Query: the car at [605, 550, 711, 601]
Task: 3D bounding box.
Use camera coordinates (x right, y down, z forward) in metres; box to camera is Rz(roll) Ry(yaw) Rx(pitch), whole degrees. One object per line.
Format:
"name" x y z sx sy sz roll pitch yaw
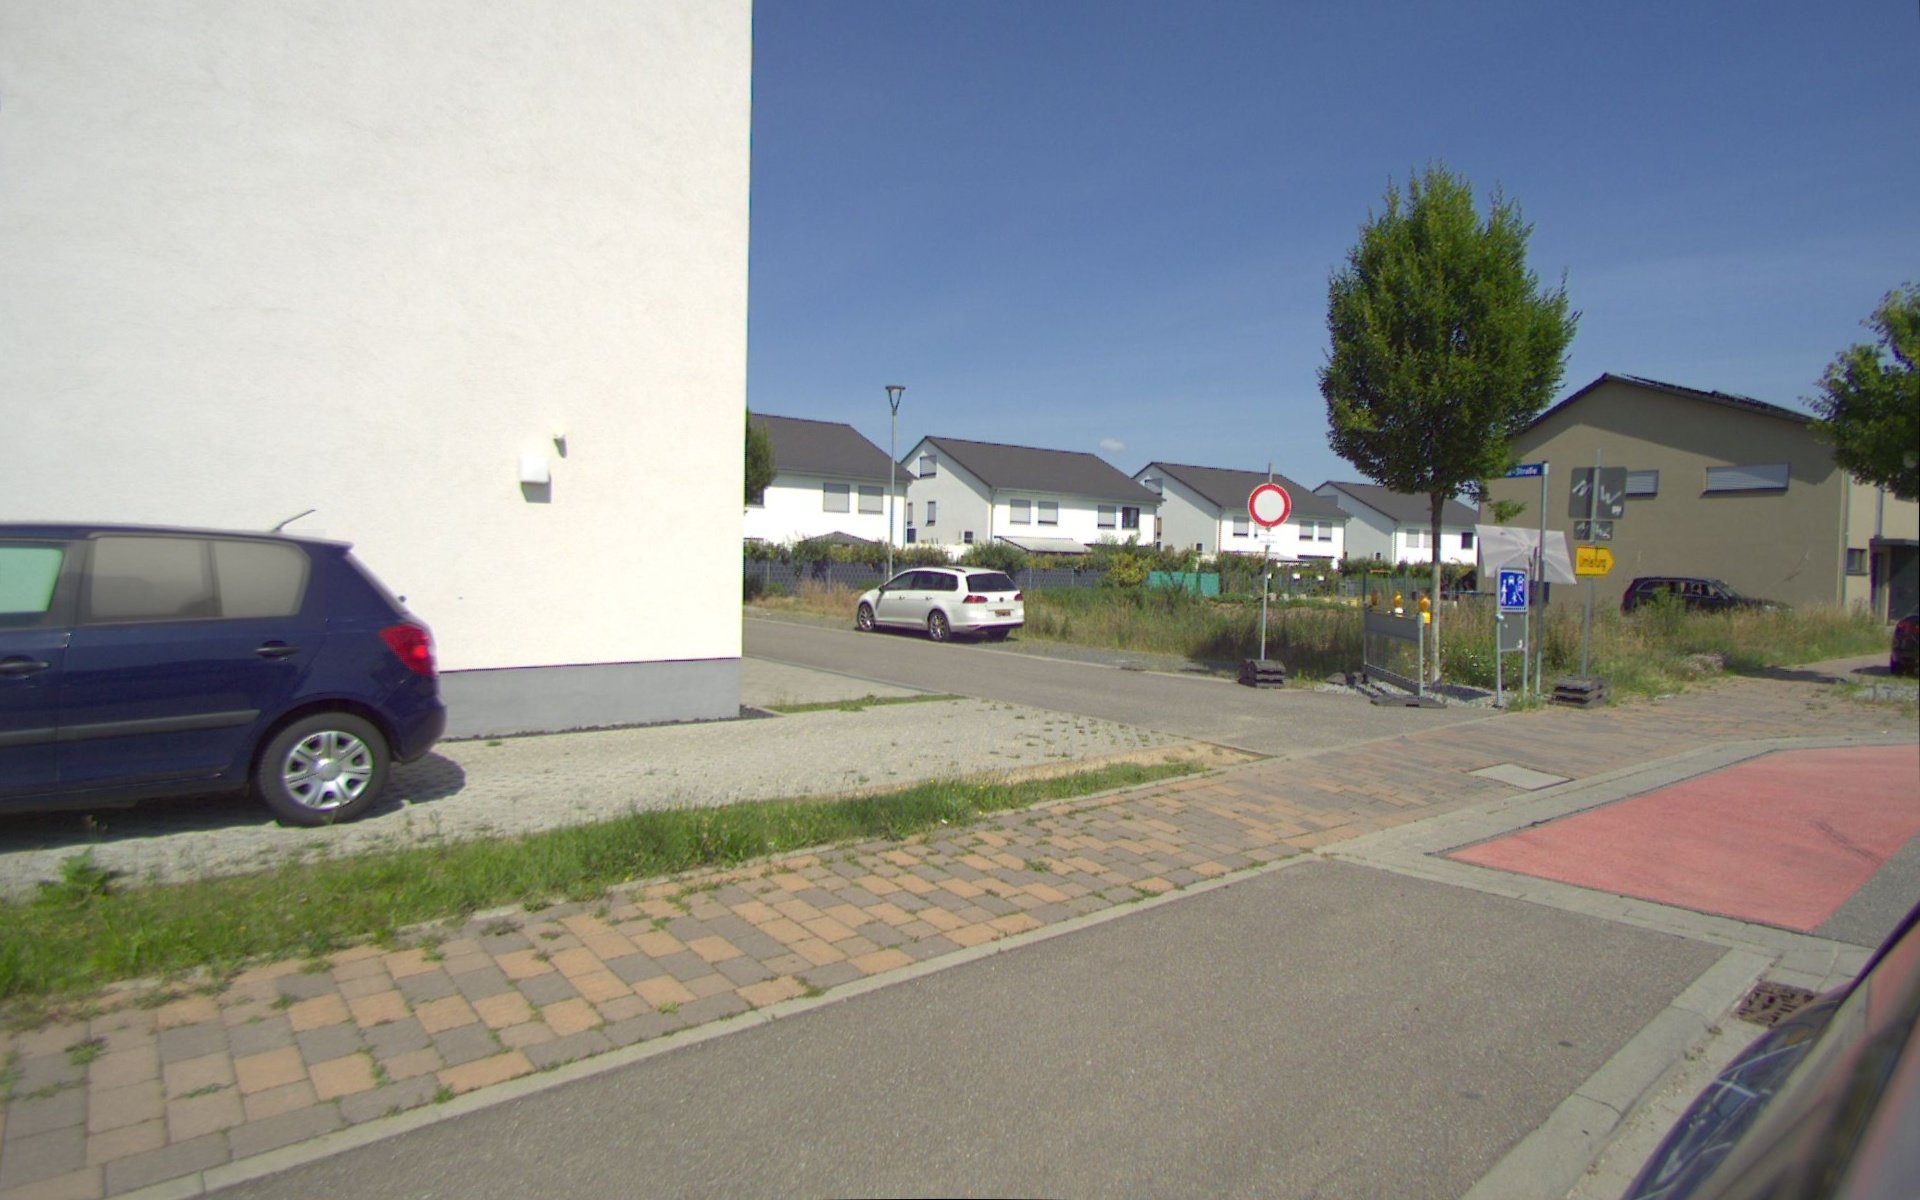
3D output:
"car" -9.817 -0.838 32.676 1.849 1.496 4.169 -1 3 -39

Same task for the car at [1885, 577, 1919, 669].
"car" 18.108 0.449 17.643 5.043 1.487 1.925 1 3 -36

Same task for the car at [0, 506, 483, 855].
"car" -4.697 0.322 4.879 4.044 1.488 1.681 0 1 -41

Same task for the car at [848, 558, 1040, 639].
"car" -0.433 -0.115 21.194 1.849 1.453 4.169 -1 4 -39

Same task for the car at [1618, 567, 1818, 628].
"car" 24.390 -0.142 32.751 1.963 1.664 4.763 -1 4 -36
